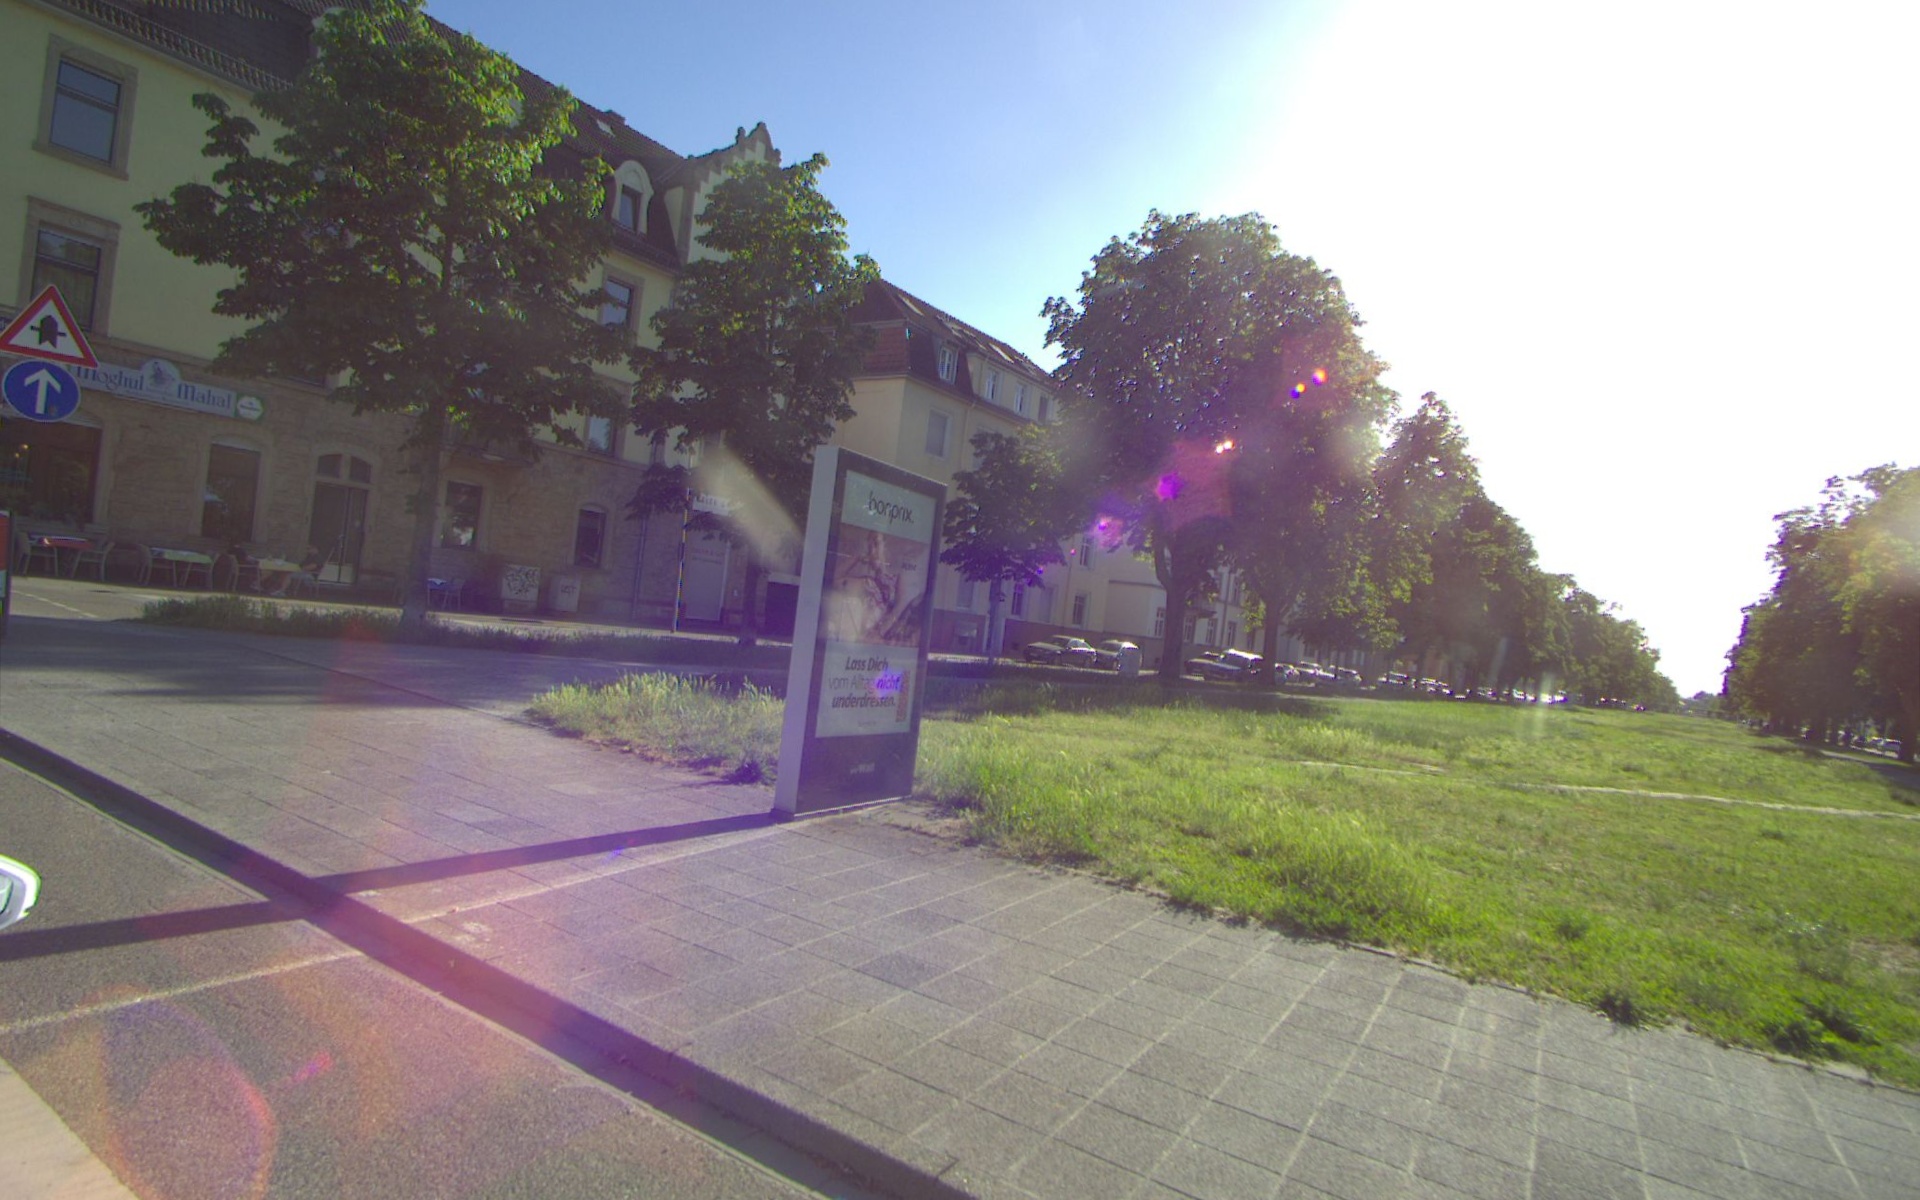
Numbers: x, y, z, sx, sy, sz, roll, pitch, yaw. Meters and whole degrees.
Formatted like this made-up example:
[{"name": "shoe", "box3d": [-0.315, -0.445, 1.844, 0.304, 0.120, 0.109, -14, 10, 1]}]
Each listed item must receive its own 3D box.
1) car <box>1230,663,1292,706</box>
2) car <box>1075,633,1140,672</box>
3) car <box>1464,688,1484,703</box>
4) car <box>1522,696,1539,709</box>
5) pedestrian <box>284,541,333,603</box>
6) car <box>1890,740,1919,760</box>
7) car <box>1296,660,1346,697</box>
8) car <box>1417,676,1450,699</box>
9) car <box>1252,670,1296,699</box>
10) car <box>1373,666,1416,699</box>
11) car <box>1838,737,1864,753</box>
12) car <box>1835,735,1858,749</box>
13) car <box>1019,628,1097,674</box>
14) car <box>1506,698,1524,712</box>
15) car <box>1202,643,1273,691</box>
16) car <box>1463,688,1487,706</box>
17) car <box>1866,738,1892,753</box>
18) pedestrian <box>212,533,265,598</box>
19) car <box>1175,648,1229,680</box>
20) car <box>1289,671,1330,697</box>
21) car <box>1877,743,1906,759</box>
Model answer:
[{"name": "car", "box3d": [16.747, 4.729, 55.866, 1.898, 1.902, 4.058, 7, -3, 36]}, {"name": "car", "box3d": [7.771, 2.789, 52.898, 1.708, 1.530, 3.698, 7, -3, 36]}, {"name": "car", "box3d": [70.628, 13.154, 138.255, 1.709, 1.622, 3.696, 7, -3, 37]}, {"name": "car", "box3d": [83.964, 15.137, 148.039, 1.625, 1.536, 3.397, 7, -3, 36]}, {"name": "pedestrian", "box3d": [-15.922, -0.681, 24.589, 0.690, 1.375, 0.639, 7, -1, 35]}, {"name": "car", "box3d": [83.967, 13.283, 89.037, 1.797, 1.450, 3.988, 7, -1, 37]}, {"name": "car", "box3d": [23.242, 5.067, 64.670, 1.898, 1.903, 3.698, 7, -3, 36]}, {"name": "car", "box3d": [41.682, 7.709, 88.510, 1.627, 1.536, 3.392, 7, -3, 41]}, {"name": "car", "box3d": [23.109, 6.211, 73.999, 1.710, 1.622, 3.694, 7, -3, 40]}, {"name": "car", "box3d": [34.760, 6.620, 80.333, 1.899, 2.054, 4.651, 7, -3, 37]}, {"name": "car", "box3d": [103.975, 16.962, 117.423, 1.797, 1.450, 3.988, 7, -1, 37]}, {"name": "car", "box3d": [118.721, 19.037, 134.739, 1.797, 1.450, 3.988, 7, -1, 37]}, {"name": "car", "box3d": [4.775, 2.484, 48.816, 1.800, 1.624, 3.843, 9, -1, 38]}, {"name": "car", "box3d": [74.166, 14.032, 134.431, 1.625, 1.536, 3.397, 7, -3, 36]}, {"name": "car", "box3d": [14.105, 3.425, 51.030, 1.900, 1.903, 3.693, 7, -3, 40]}, {"name": "car", "box3d": [55.661, 10.483, 108.760, 1.625, 1.536, 3.397, 7, -3, 36]}, {"name": "car", "box3d": [111.264, 17.628, 121.866, 1.797, 1.450, 3.988, 7, -1, 37]}, {"name": "pedestrian", "box3d": [-16.785, -0.794, 23.405, 0.690, 1.375, 0.639, 7, -1, 35]}, {"name": "car", "box3d": [15.334, 4.060, 63.585, 1.710, 1.503, 3.694, 7, -3, 40]}, {"name": "car", "box3d": [27.716, 6.680, 79.650, 1.710, 1.622, 3.694, 7, -3, 40]}, {"name": "car", "box3d": [104.085, 16.855, 112.417, 1.797, 1.450, 3.988, 7, -1, 37]}]
